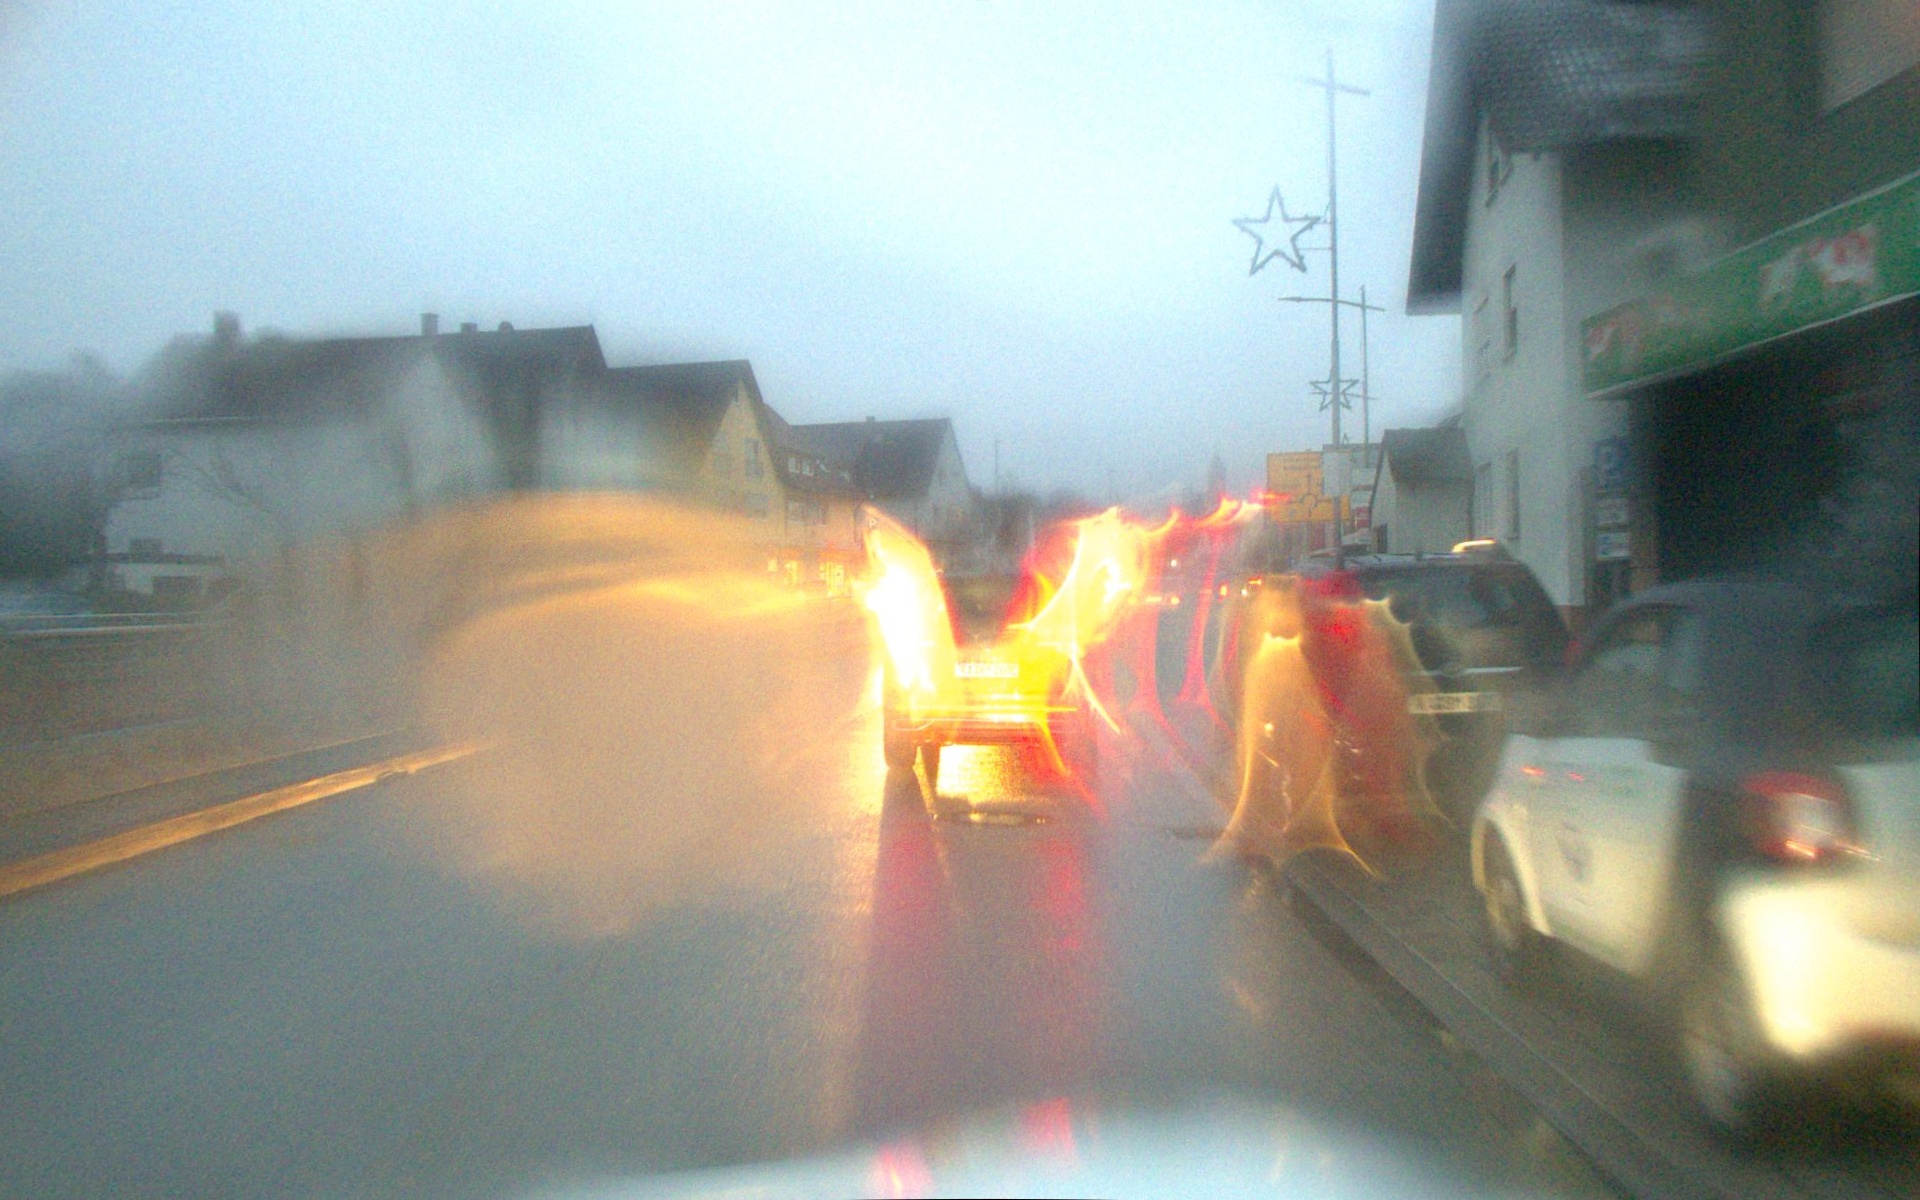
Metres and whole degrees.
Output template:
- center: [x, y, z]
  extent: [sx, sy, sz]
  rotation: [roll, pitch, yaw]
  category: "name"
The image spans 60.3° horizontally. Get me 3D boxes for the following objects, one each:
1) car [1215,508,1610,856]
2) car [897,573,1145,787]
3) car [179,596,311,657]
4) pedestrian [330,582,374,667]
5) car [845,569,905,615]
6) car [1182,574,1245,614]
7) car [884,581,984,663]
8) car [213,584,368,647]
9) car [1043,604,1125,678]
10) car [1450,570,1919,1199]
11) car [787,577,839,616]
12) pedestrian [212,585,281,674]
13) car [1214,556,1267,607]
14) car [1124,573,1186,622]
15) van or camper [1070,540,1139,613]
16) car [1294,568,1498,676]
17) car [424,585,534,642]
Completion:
- center: [2.798, 0.431, 11.123]
  extent: [1.732, 1.813, 4.002]
  rotation: [-4, 0, 4]
  category: "car"
- center: [0.404, 0.584, 14.991]
  extent: [1.925, 1.622, 4.312]
  rotation: [0, 1, -2]
  category: "car"
- center: [-17.935, 0.641, 41.633]
  extent: [1.451, 1.452, 3.462]
  rotation: [-1, 0, 8]
  category: "car"
- center: [-12.448, 0.493, 33.854]
  extent: [0.649, 1.727, 0.542]
  rotation: [0, 1, 10]
  category: "pedestrian"
- center: [-3.810, -0.375, 73.453]
  extent: [2.002, 1.959, 4.044]
  rotation: [-2, 1, -12]
  category: "car"
- center: [9.667, -0.235, 62.913]
  extent: [1.951, 1.416, 4.004]
  rotation: [-1, 1, 14]
  category: "car"
- center: [-0.502, 0.436, 35.537]
  extent: [1.627, 1.664, 3.554]
  rotation: [0, 1, 8]
  category: "car"
- center: [-20.349, 0.461, 50.343]
  extent: [3.902, 1.723, 1.866]
  rotation: [-2, 1, 6]
  category: "car"
- center: [2.606, 0.827, 35.212]
  extent: [1.647, 1.478, 4.002]
  rotation: [0, 0, 3]
  category: "car"
- center: [2.816, 0.671, 5.311]
  extent: [1.612, 1.440, 2.727]
  rotation: [-3, 1, 0]
  category: "car"
- center: [-6.617, -0.189, 73.977]
  extent: [1.790, 1.641, 4.044]
  rotation: [-2, 1, -12]
  category: "car"
- center: [-14.675, 0.600, 34.045]
  extent: [0.908, 1.816, 0.974]
  rotation: [0, 0, 10]
  category: "pedestrian"
- center: [12.431, -0.813, 73.326]
  extent: [2.112, 2.025, 4.503]
  rotation: [-4, 0, 10]
  category: "car"
- center: [6.098, -0.110, 51.460]
  extent: [1.775, 1.436, 4.004]
  rotation: [0, 2, 9]
  category: "car"
- center: [5.872, -0.947, 66.492]
  extent: [2.192, 2.715, 6.561]
  rotation: [-1, 1, 9]
  category: "van or camper"
- center: [6.503, 0.298, 25.105]
  extent: [1.731, 1.418, 3.910]
  rotation: [-3, 0, -5]
  category: "car"
- center: [-15.792, 0.401, 54.567]
  extent: [1.870, 1.712, 4.221]
  rotation: [-1, 1, 8]
  category: "car"
